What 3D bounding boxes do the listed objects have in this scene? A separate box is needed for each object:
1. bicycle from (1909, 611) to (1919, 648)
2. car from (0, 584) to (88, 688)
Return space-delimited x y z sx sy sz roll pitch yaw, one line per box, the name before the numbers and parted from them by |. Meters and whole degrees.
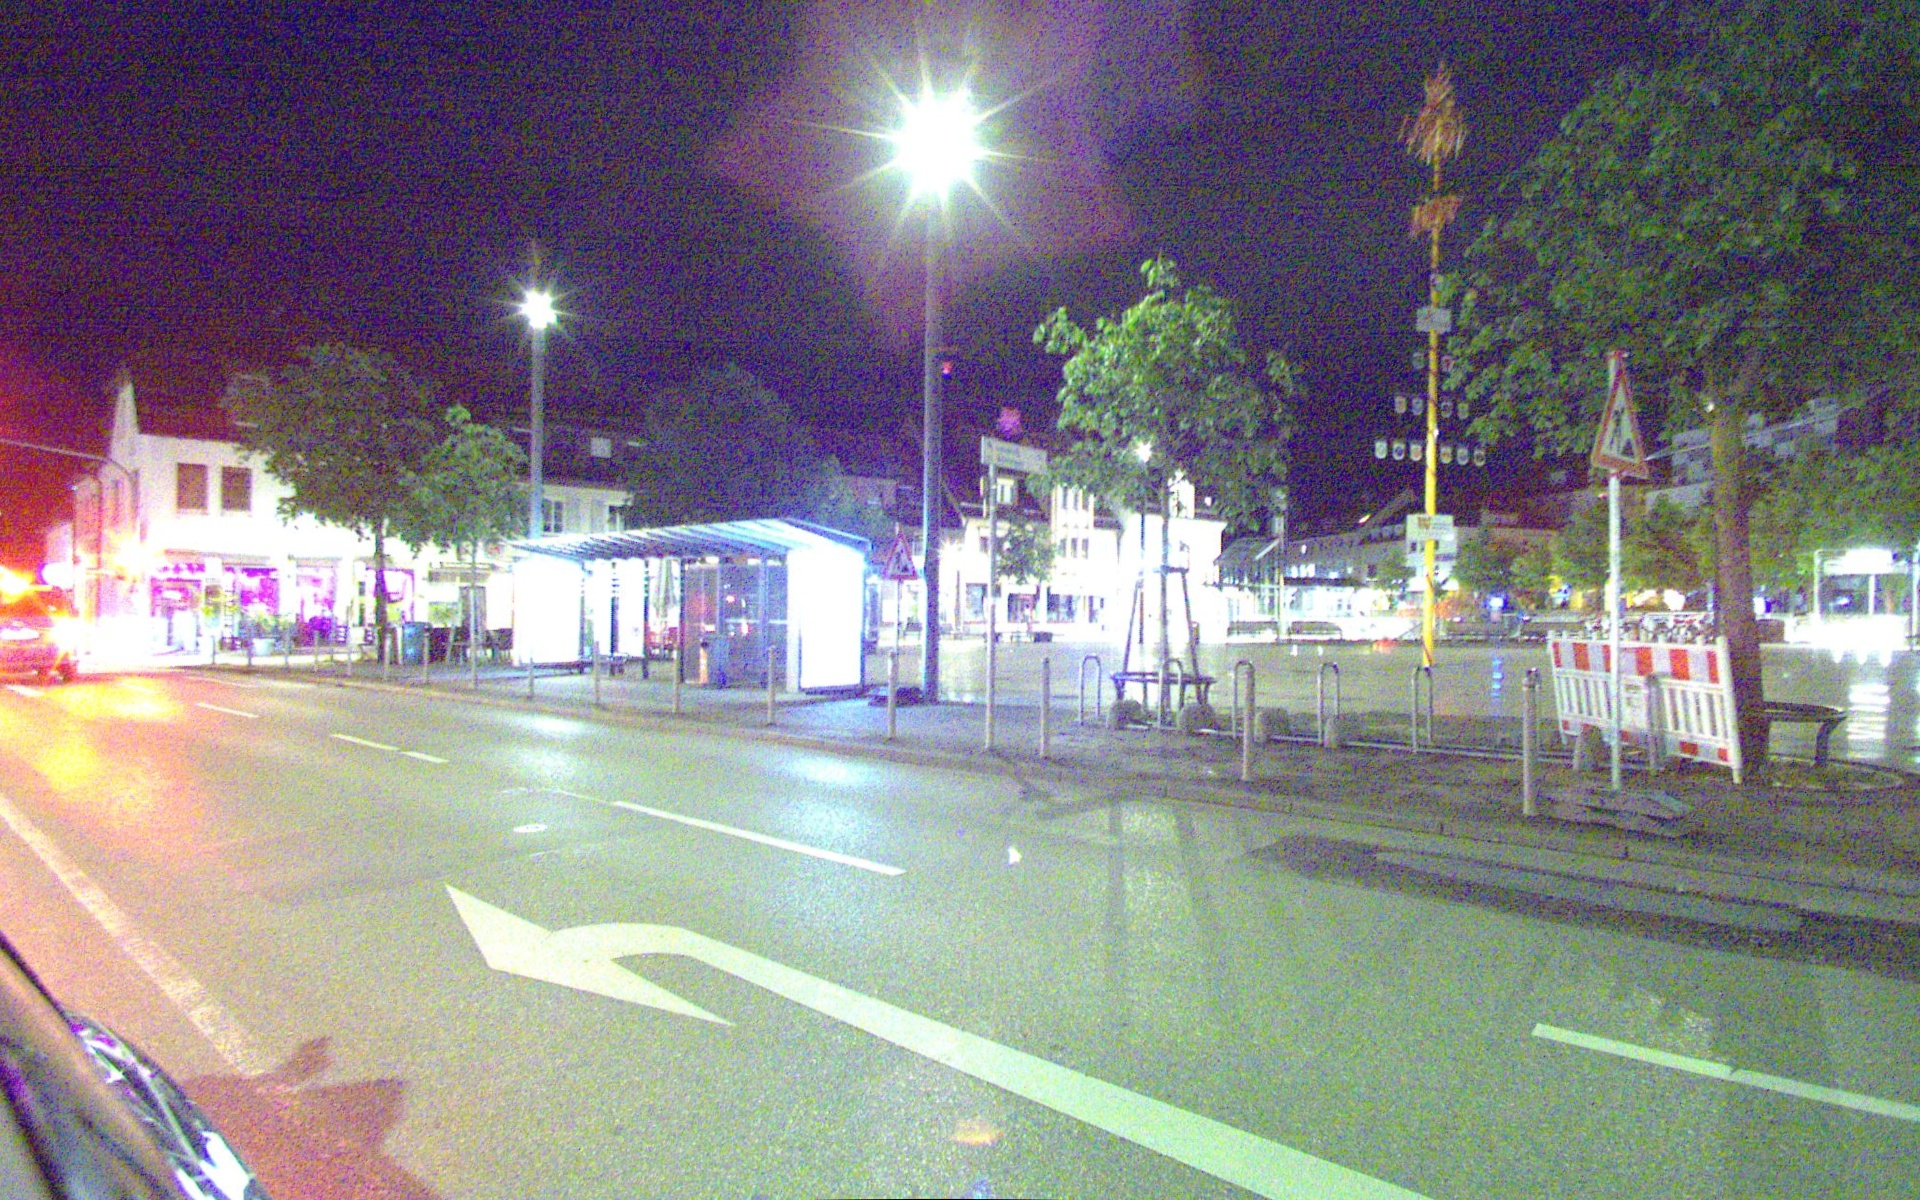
bicycle | 26.406 0.785 26.971 1.525 0.965 0.476 -1 0 25
car | -19.088 0.679 20.100 4.908 1.886 1.946 -1 -1 40
